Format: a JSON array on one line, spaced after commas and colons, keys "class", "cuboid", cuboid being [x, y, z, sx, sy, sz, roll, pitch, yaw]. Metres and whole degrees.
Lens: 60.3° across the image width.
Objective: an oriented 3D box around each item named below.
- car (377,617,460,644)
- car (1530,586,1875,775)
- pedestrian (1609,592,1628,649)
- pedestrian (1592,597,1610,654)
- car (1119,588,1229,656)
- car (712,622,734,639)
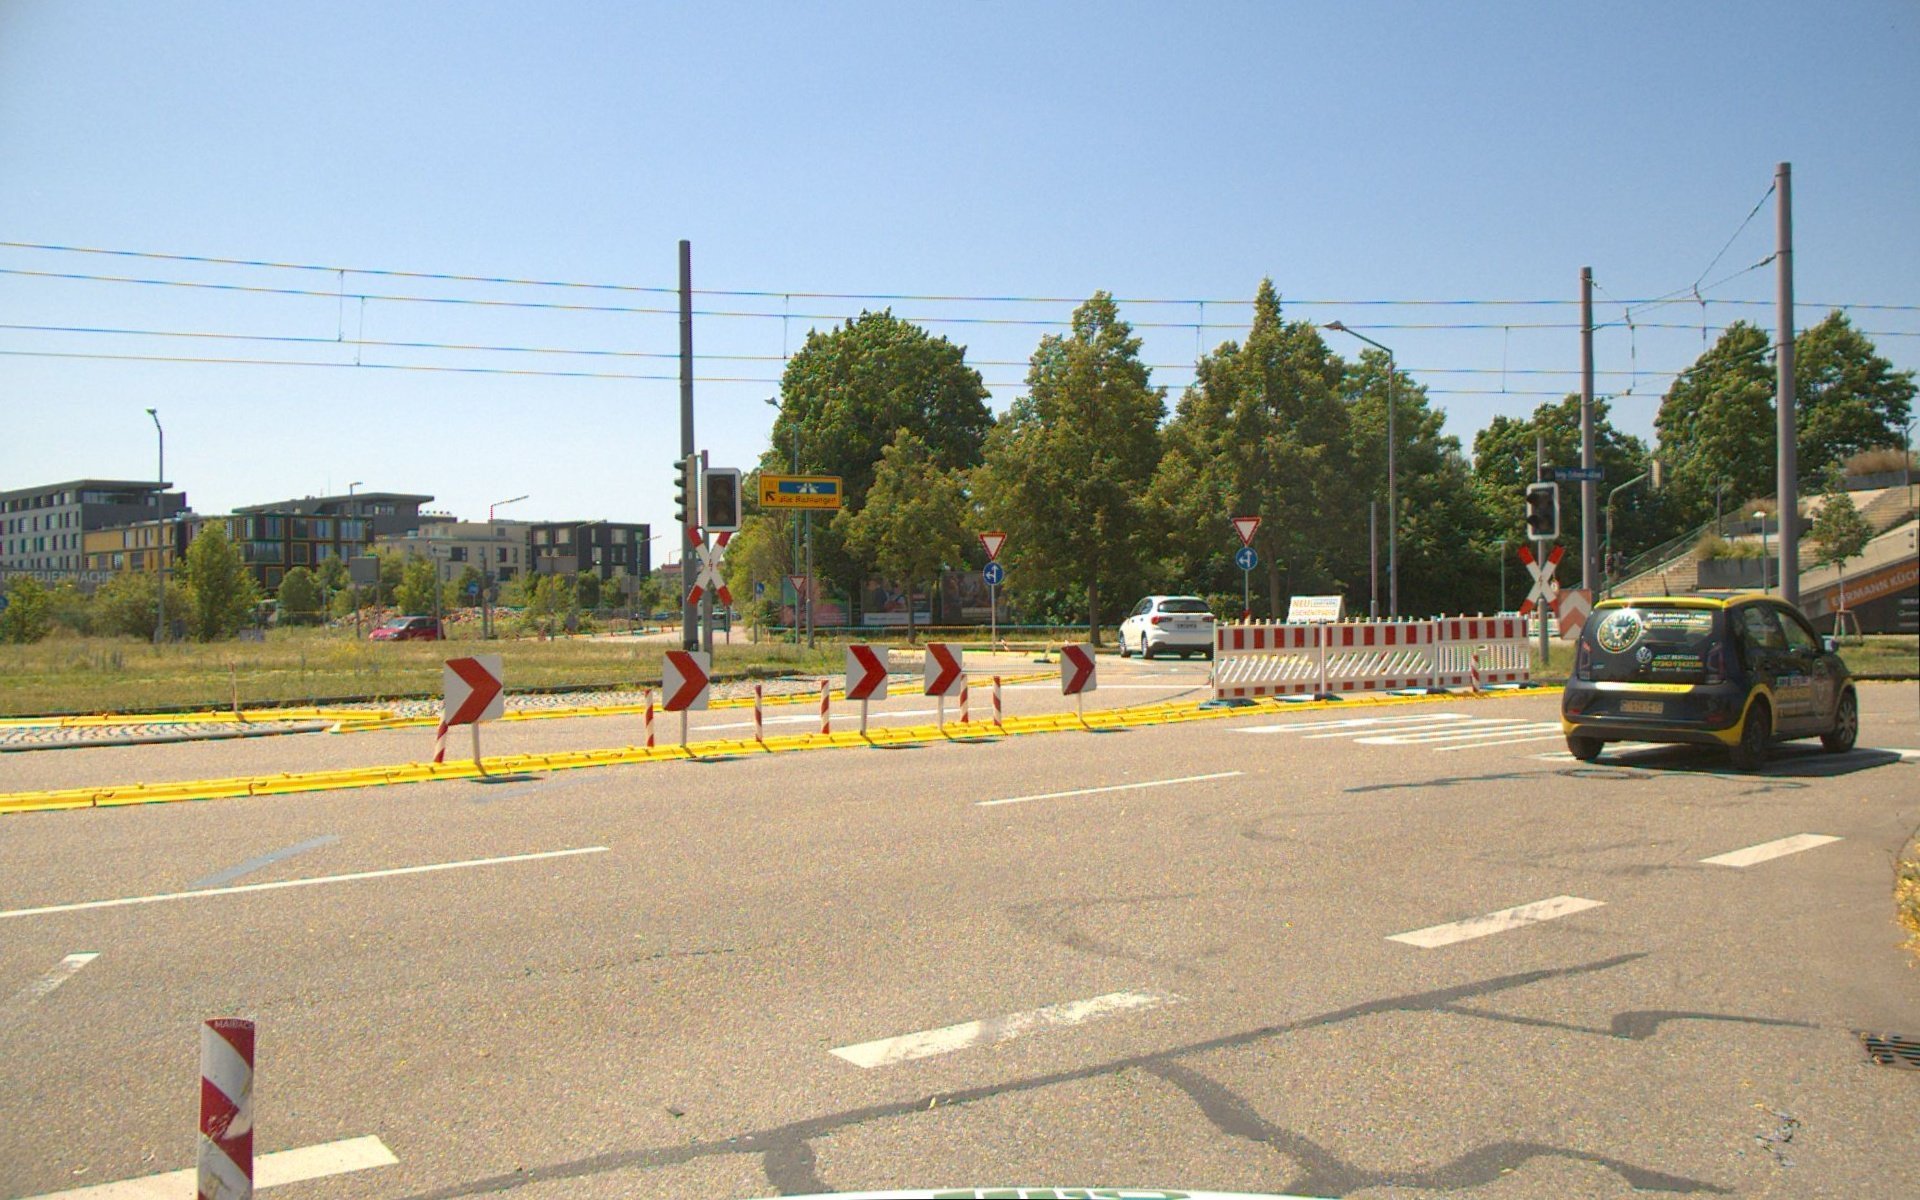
[{"class": "car", "cuboid": [-23.457, 1.311, 71.761, 1.463, 1.109, 3.519, -1, 0, 23]}, {"class": "car", "cuboid": [6.797, 0.650, 14.944, 1.597, 1.477, 3.958, 0, -1, 44]}, {"class": "pedestrian", "cuboid": [20.597, 0.651, 51.738, 0.438, 1.769, 0.318, 0, -1, -2]}, {"class": "pedestrian", "cuboid": [20.047, 0.808, 51.705, 0.438, 1.769, 0.291, 0, -1, -2]}, {"class": "car", "cuboid": [5.098, 0.517, 39.959, 1.953, 1.512, 4.365, -1, 0, -2]}, {"class": "car", "cuboid": [-20.100, 2.545, 140.322, 1.625, 1.396, 3.029, -1, 0, -4]}]
